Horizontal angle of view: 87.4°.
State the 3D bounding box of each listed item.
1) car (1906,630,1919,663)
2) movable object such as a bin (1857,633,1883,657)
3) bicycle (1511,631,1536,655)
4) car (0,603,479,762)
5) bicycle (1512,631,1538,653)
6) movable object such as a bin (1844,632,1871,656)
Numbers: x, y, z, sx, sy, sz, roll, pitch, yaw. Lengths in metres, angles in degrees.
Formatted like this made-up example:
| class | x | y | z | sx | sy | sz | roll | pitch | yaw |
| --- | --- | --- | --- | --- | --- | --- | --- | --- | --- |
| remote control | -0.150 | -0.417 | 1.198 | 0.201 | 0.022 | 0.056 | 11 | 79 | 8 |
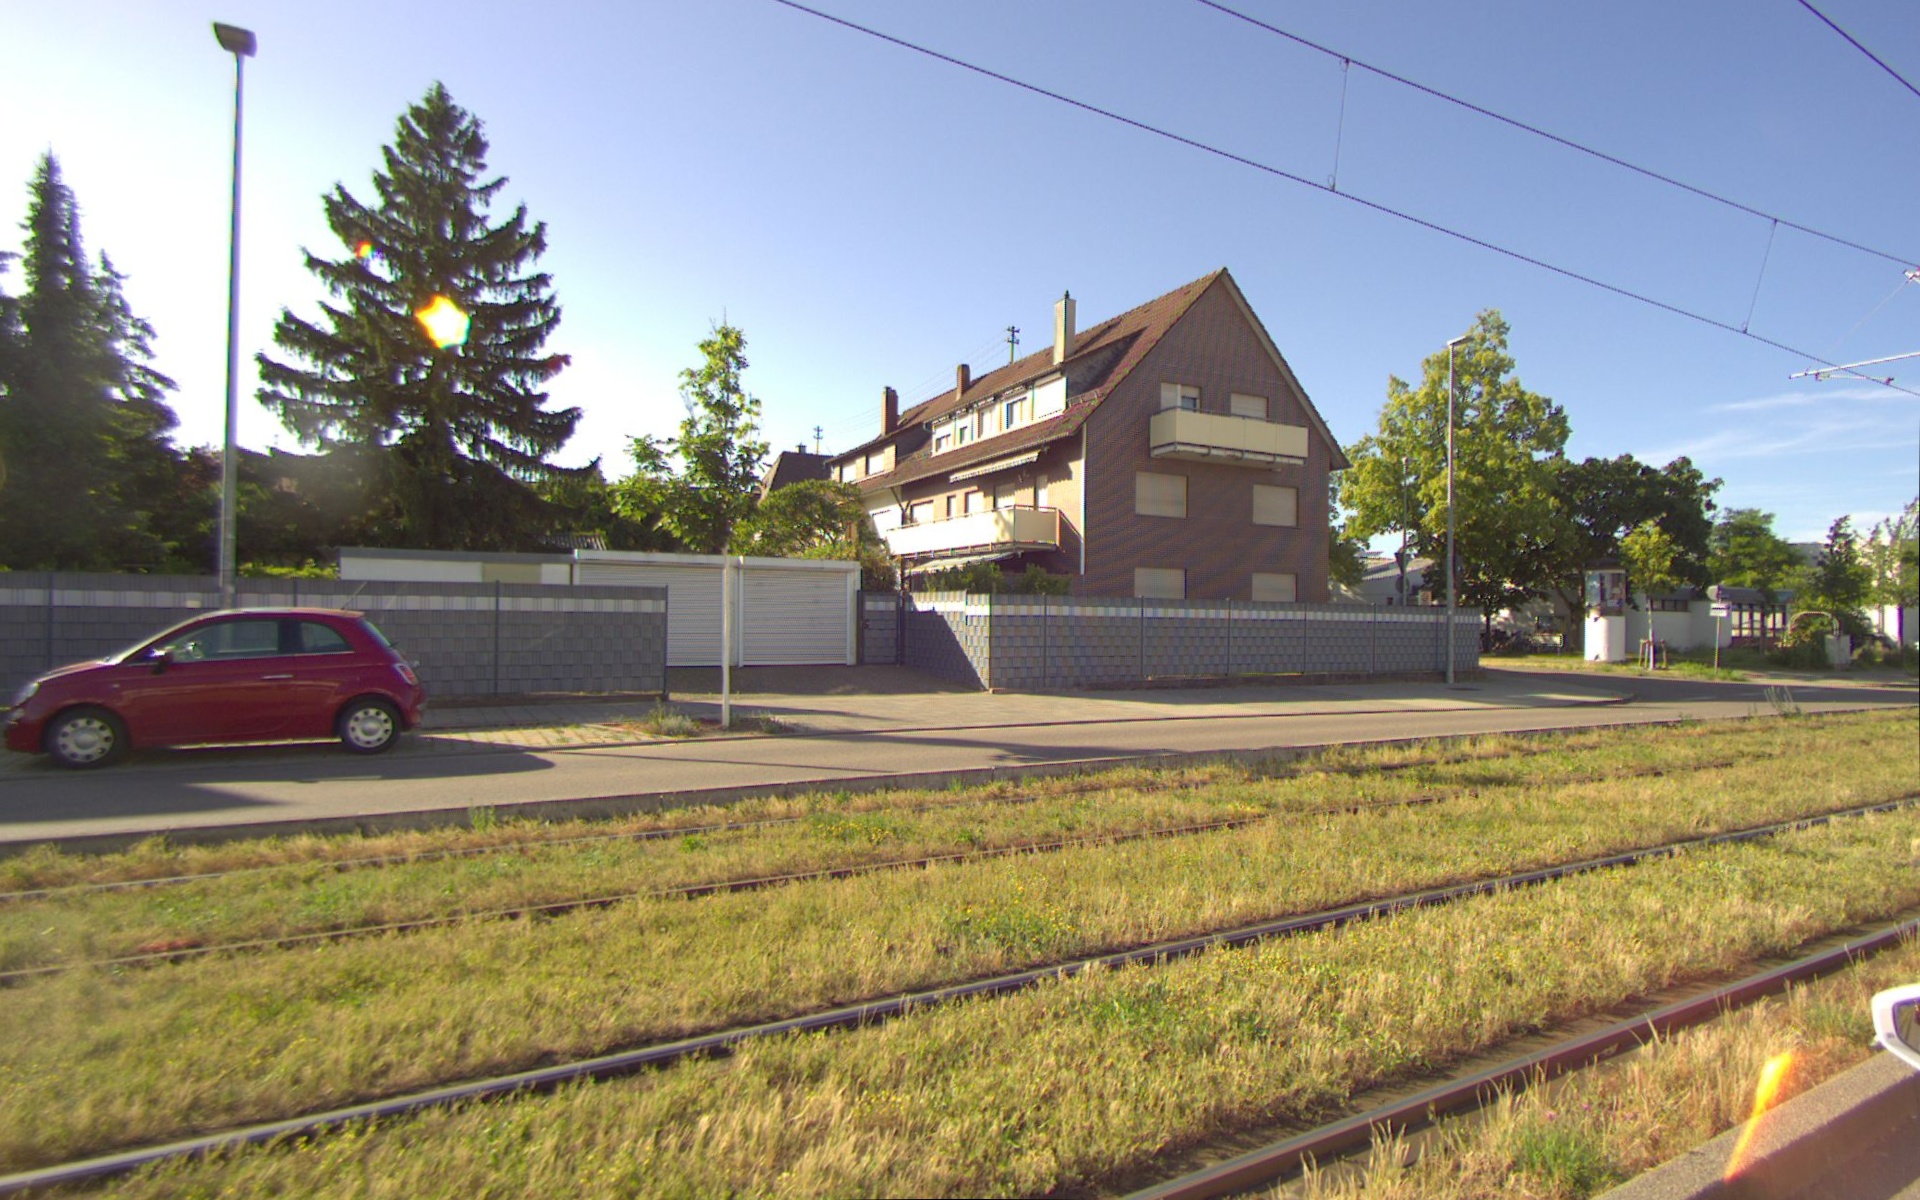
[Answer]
| class | x | y | z | sx | sy | sz | roll | pitch | yaw |
| --- | --- | --- | --- | --- | --- | --- | --- | --- | --- |
| car | 46.792 | 2.244 | 47.861 | 3.732 | 1.511 | 1.536 | 2 | 0 | -31 |
| movable object such as a bin | 56.049 | 2.759 | 61.853 | 1.236 | 1.453 | 0.663 | 2 | 1 | -22 |
| bicycle | 27.156 | 2.074 | 48.409 | 1.042 | 1.097 | 0.303 | 0 | -1 | 44 |
| car | -7.389 | 0.784 | 10.649 | 4.030 | 1.423 | 1.688 | 1 | -1 | -30 |
| bicycle | 27.373 | 2.033 | 48.663 | 1.025 | 1.073 | 0.303 | 0 | -1 | 44 |
| movable object such as a bin | 54.633 | 2.674 | 61.134 | 1.401 | 1.401 | 0.663 | 2 | 1 | -22 |
